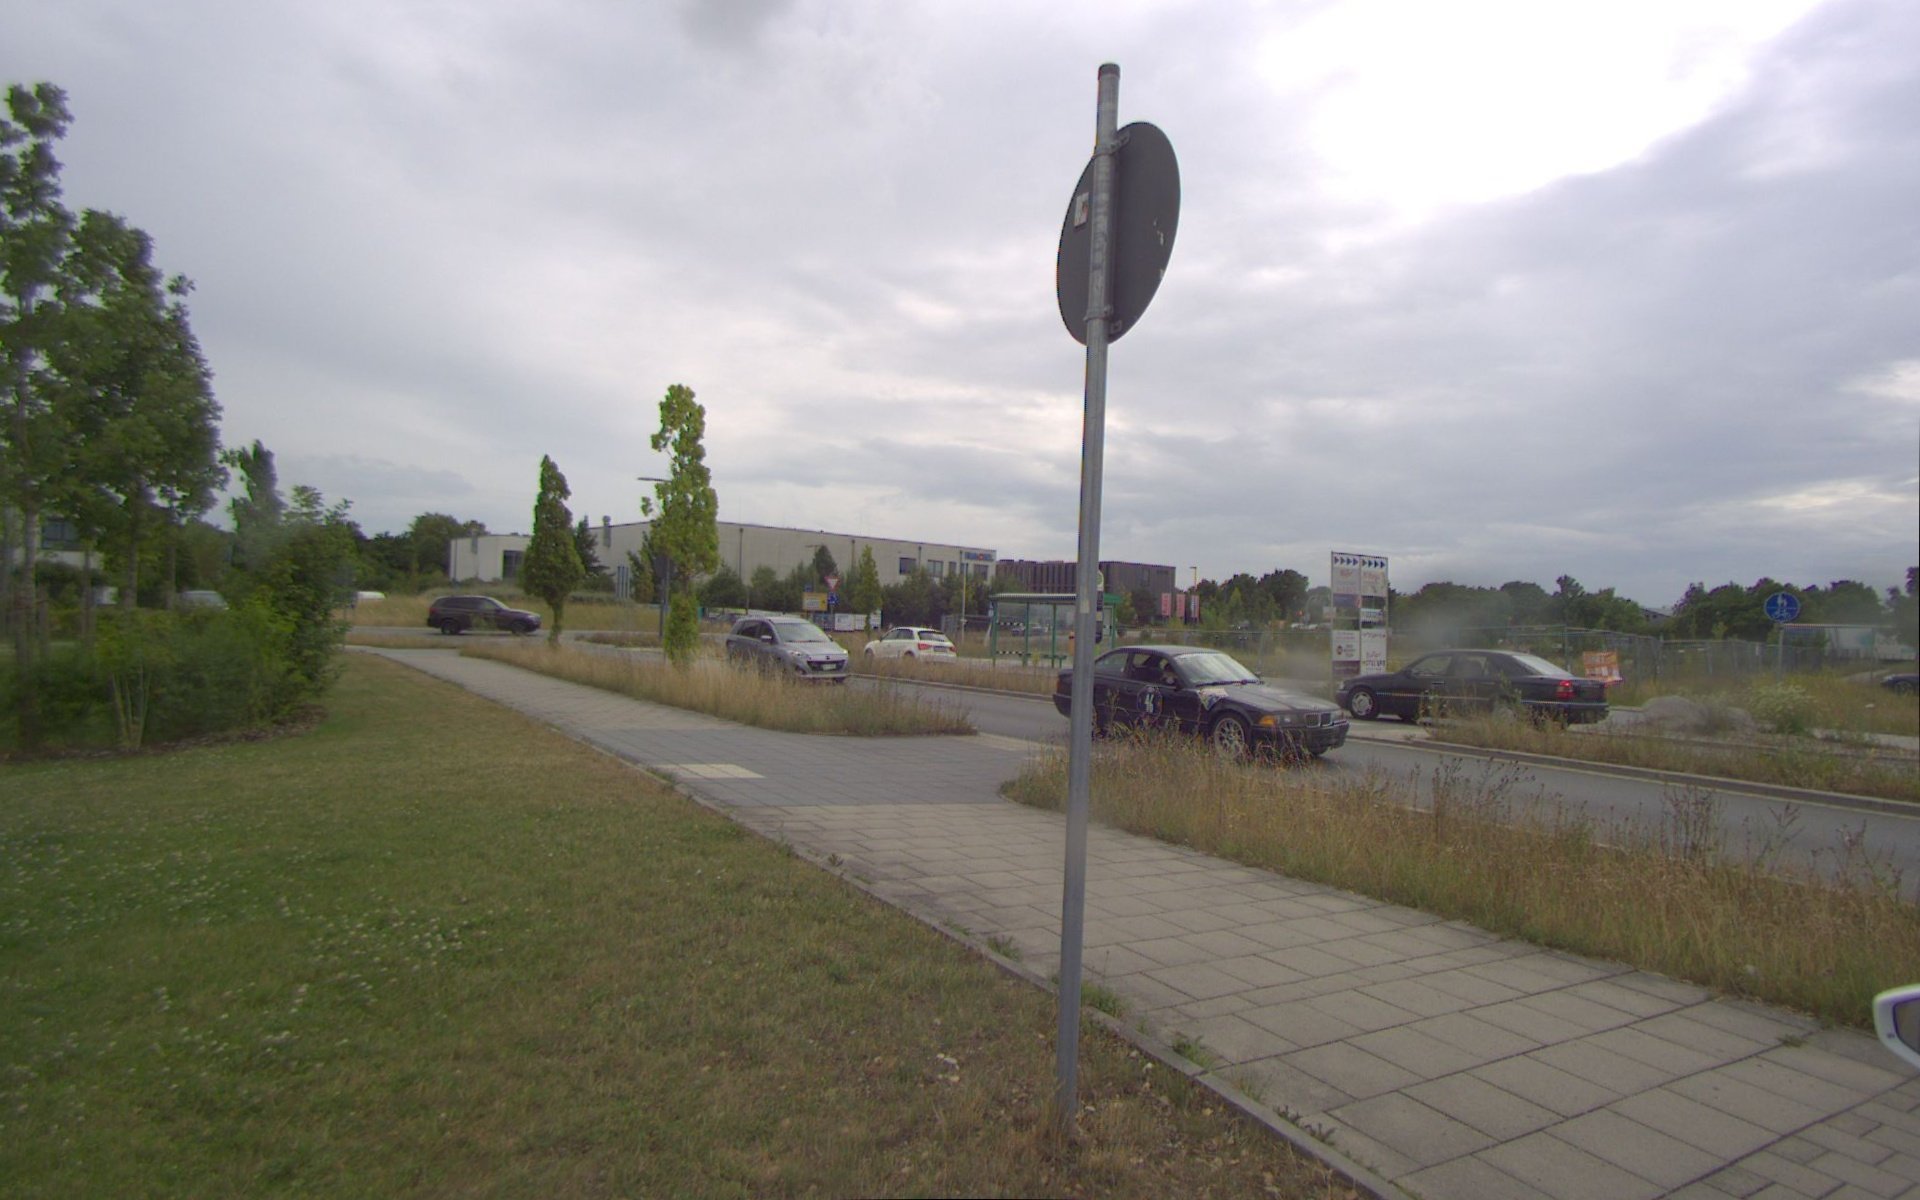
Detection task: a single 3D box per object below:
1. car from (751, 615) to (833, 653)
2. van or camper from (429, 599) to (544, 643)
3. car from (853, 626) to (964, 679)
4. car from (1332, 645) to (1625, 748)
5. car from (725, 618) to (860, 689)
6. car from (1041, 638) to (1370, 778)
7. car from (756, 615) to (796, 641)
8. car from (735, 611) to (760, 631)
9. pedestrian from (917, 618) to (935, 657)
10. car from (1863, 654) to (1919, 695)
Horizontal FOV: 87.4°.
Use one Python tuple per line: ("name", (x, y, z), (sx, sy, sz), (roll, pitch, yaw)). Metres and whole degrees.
("car", (-6.993, 1.379, 41.604), (1.702, 1.360, 4.023), (3, -1, -36))
("van or camper", (-21.805, 0.971, 46.451), (4.499, 1.771, 1.993), (3, -1, -17))
("car", (-1.773, 1.719, 33.466), (1.742, 1.500, 4.014), (4, -1, -36))
("car", (9.080, 1.634, 17.954), (1.772, 1.414, 4.331), (4, -2, -33))
("car", (-4.337, 1.289, 25.537), (1.801, 1.584, 4.361), (1, -1, -33))
("car", (3.112, 1.324, 13.607), (1.741, 1.405, 4.261), (3, -1, -34))
("car", (-10.875, 1.637, 59.218), (1.692, 1.360, 3.946), (3, -1, -20))
("car", (-15.621, 1.532, 73.988), (1.688, 1.360, 3.955), (3, -1, -11))
("pedestrian", (-1.552, 1.711, 46.094), (0.729, 1.744, 0.651), (3, -1, 0))
("car", (41.206, 3.225, 41.897), (1.982, 1.578, 4.971), (4, -1, -37))
